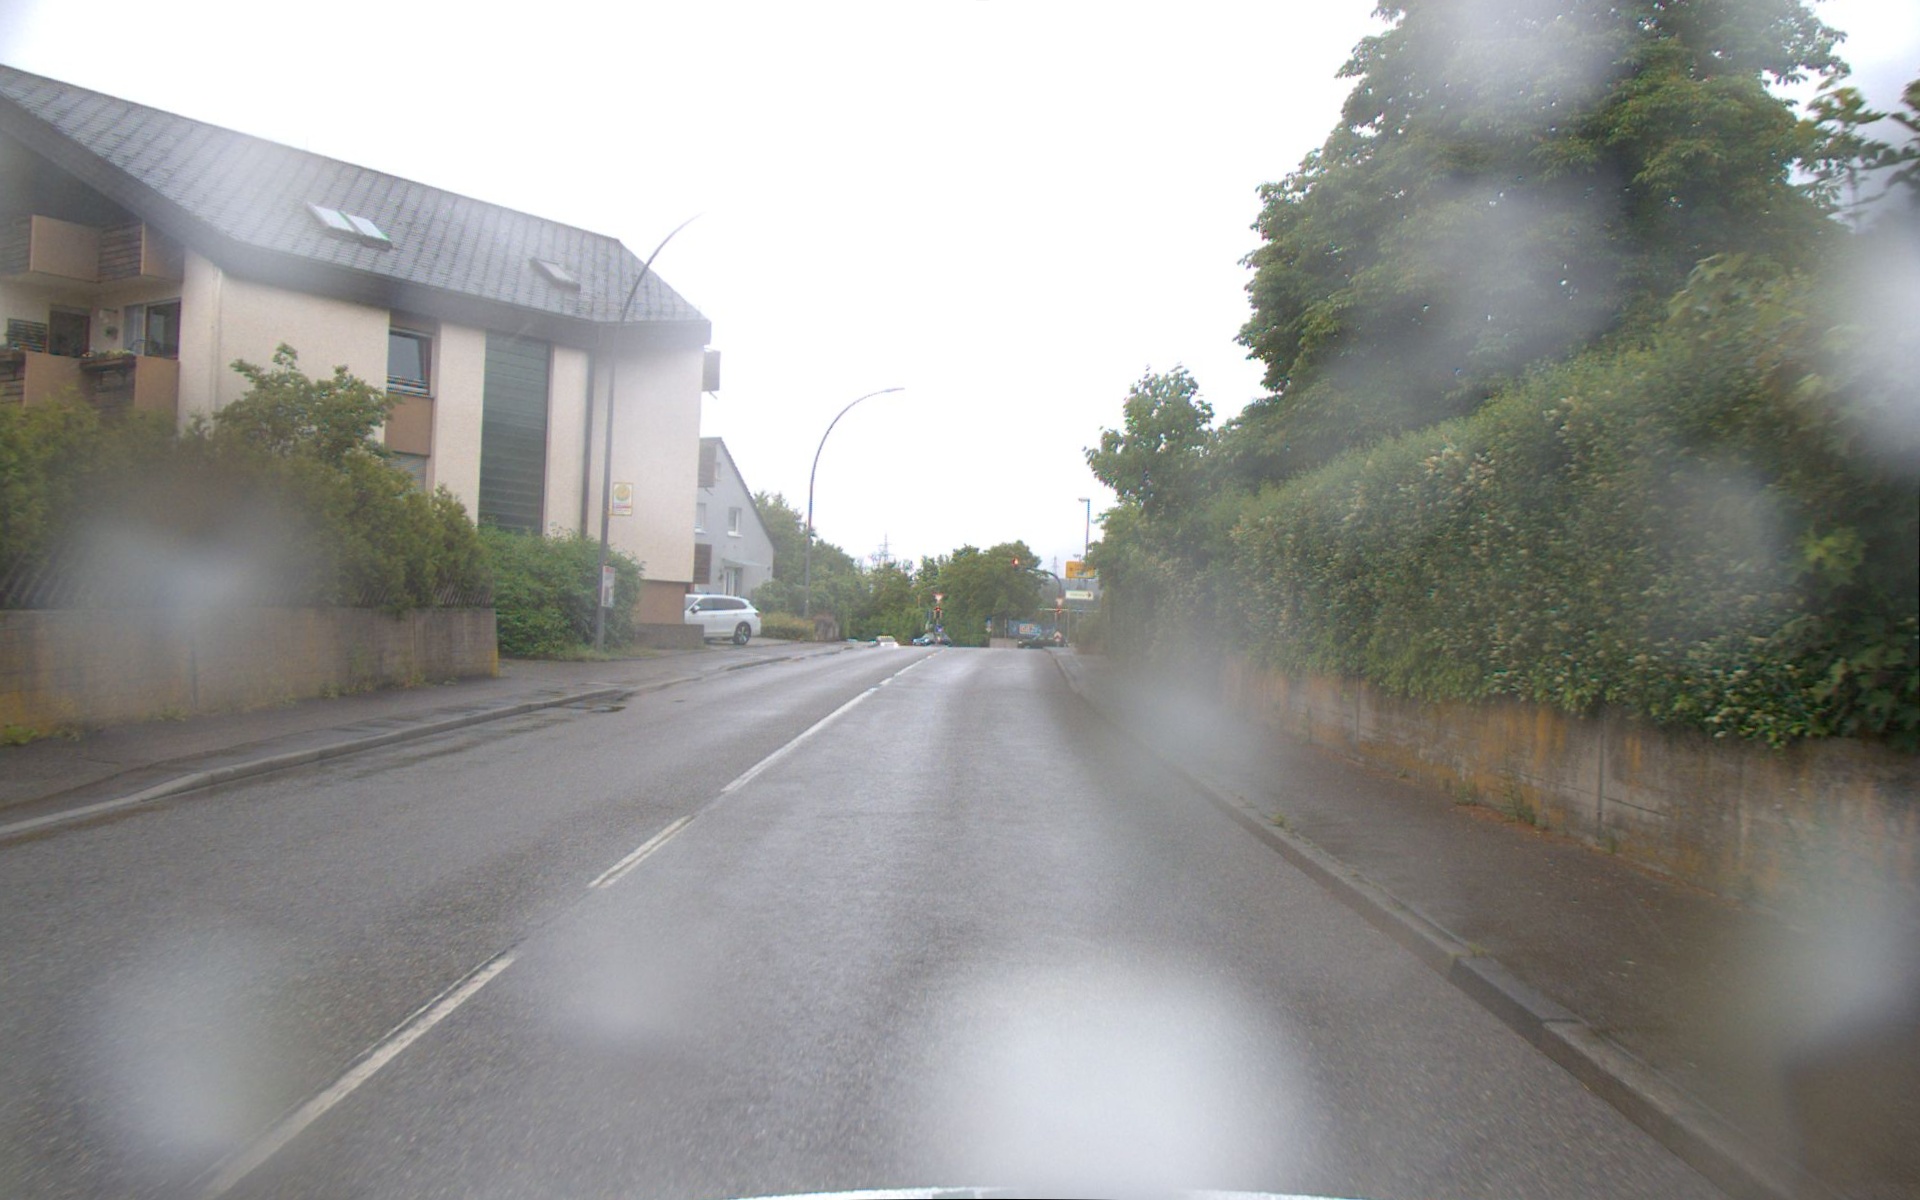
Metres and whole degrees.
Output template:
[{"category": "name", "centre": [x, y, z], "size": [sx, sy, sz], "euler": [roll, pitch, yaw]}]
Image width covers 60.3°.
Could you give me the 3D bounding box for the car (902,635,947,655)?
[{"category": "car", "centre": [-2.916, 3.691, 136.768], "size": [1.773, 1.550, 3.988], "euler": [1, -1, 33]}]

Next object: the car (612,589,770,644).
[{"category": "car", "centre": [-8.144, 0.539, 50.461], "size": [1.869, 1.503, 4.864], "euler": [3, 0, 35]}]
